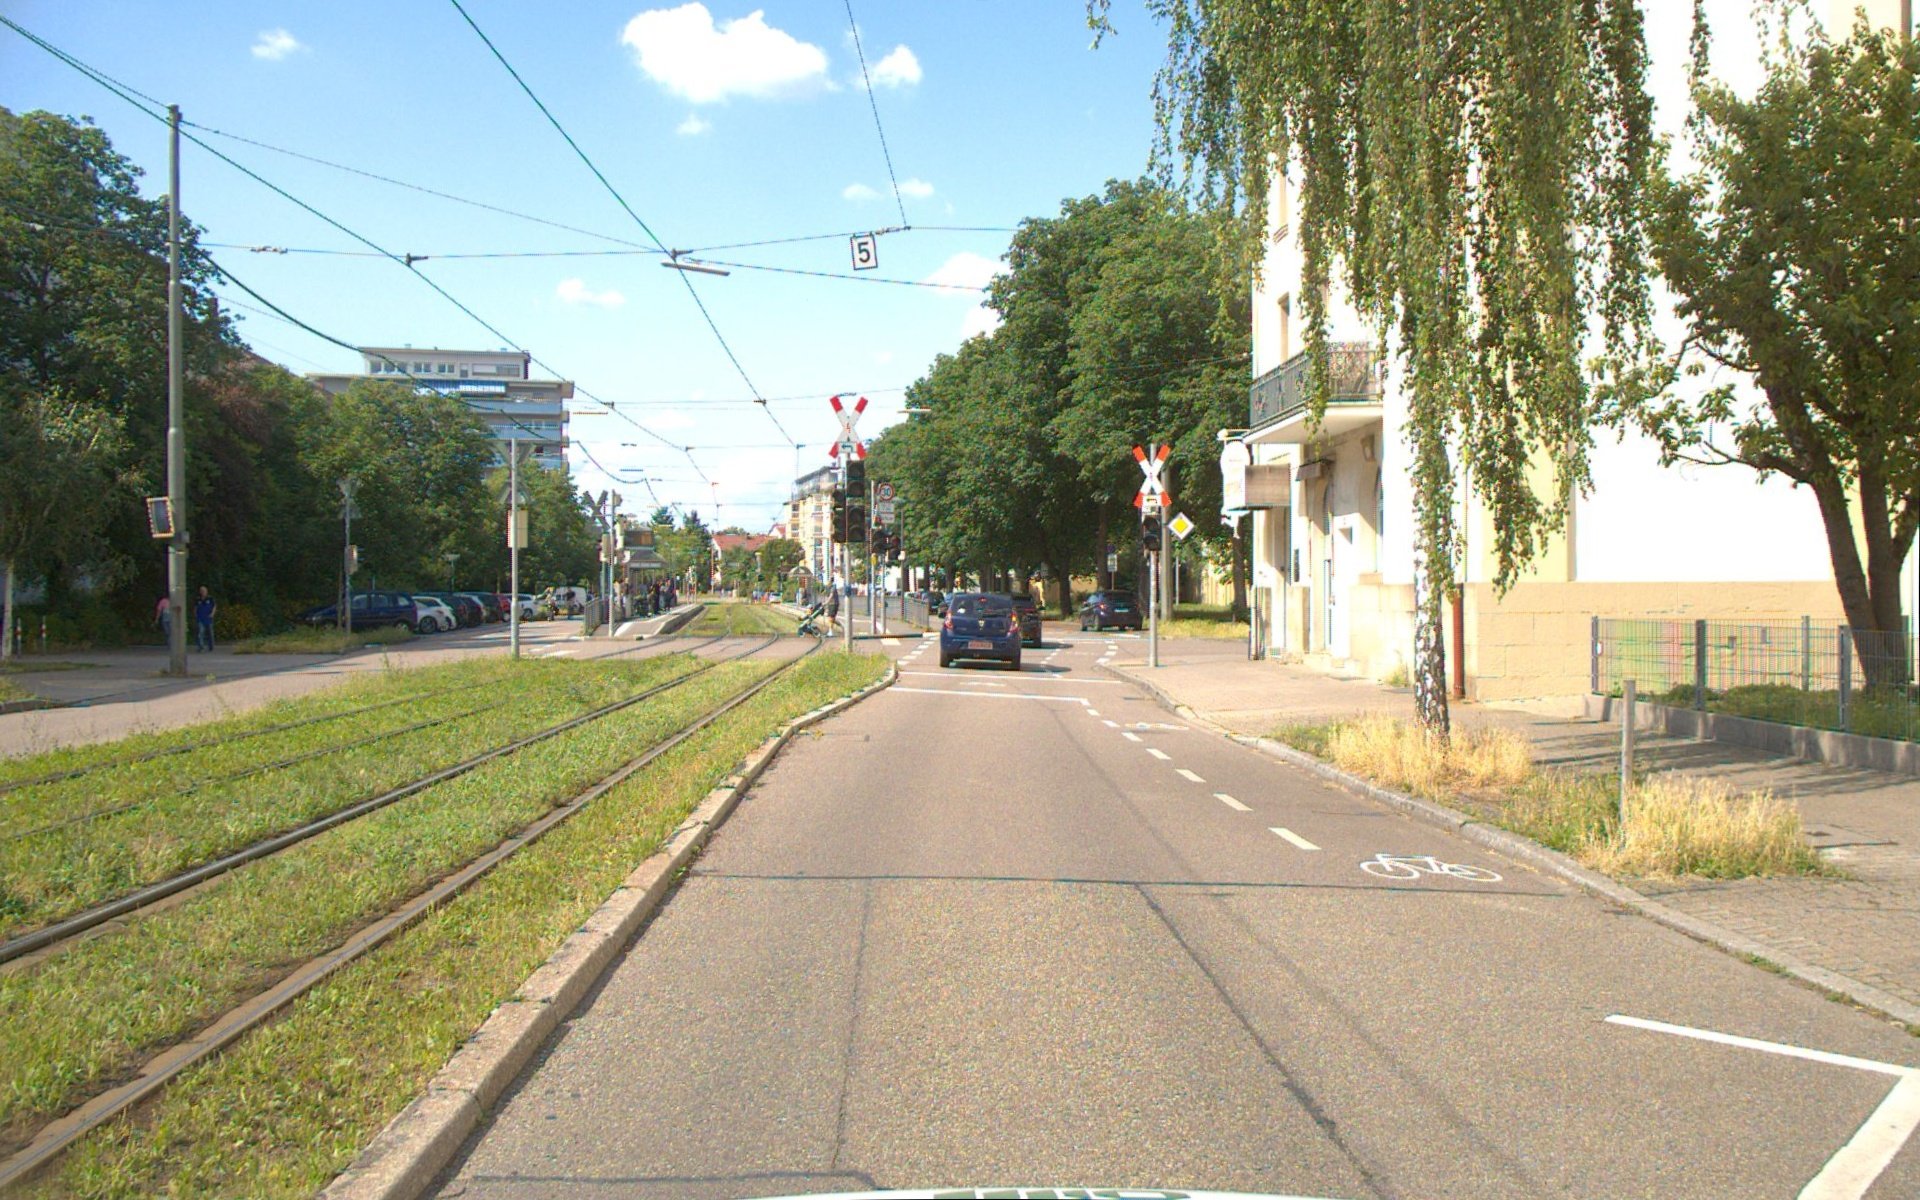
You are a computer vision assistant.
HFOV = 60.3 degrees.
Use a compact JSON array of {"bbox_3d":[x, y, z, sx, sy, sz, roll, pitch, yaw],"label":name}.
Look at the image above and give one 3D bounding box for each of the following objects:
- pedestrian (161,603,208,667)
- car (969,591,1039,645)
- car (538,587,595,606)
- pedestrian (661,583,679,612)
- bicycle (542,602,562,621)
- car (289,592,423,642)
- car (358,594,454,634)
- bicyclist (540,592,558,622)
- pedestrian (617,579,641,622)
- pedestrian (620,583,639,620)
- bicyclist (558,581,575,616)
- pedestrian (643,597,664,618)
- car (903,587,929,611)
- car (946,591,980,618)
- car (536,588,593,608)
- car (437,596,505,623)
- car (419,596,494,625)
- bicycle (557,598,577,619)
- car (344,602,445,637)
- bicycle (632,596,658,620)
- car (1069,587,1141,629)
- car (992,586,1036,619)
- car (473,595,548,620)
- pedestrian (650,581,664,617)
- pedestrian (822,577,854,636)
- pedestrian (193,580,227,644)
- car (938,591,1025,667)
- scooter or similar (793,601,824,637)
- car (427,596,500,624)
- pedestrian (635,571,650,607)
[{"bbox_3d":[-19.526,0.881,41.660,0.730,1.601,0.889,-1,-1,1],"label":"pedestrian"},{"bbox_3d":[1.191,0.472,45.687,1.666,1.392,3.513,-1,1,-3],"label":"car"},{"bbox_3d":[-30.196,-0.287,127.040,3.966,1.472,1.701,-1,0,-42],"label":"car"},{"bbox_3d":[-14.926,-0.122,85.096,0.642,1.451,0.562,-1,0,30],"label":"pedestrian"},{"bbox_3d":[-21.968,0.613,89.034,0.667,0.988,2.177,-1,0,-4],"label":"bicycle"},{"bbox_3d":[-21.005,0.569,57.644,1.696,1.669,4.106,0,0,43],"label":"car"},{"bbox_3d":[-22.271,0.552,66.571,1.518,1.531,3.365,0,0,44],"label":"car"},{"bbox_3d":[-22.049,0.368,88.784,0.769,1.609,0.863,-1,0,-4],"label":"bicyclist"},{"bbox_3d":[-13.511,0.017,67.437,0.699,1.756,0.666,0,0,34],"label":"pedestrian"},{"bbox_3d":[-14.490,0.068,72.446,0.650,1.597,0.686,-2,0,0],"label":"pedestrian"},{"bbox_3d":[-22.987,-0.077,96.571,0.932,2.049,1.570,0,0,-15],"label":"bicyclist"},{"bbox_3d":[-14.836,0.359,80.131,0.907,1.006,0.796,-2,-1,-6],"label":"pedestrian"},{"bbox_3d":[-3.327,-0.076,123.388,1.587,1.780,3.994,0,0,-7],"label":"car"},{"bbox_3d":[0.153,0.242,96.871,1.814,1.542,3.998,0,0,-2],"label":"car"},{"bbox_3d":[-29.140,-0.141,121.837,1.607,1.410,3.983,0,0,37],"label":"car"},{"bbox_3d":[-25.544,0.476,86.494,1.427,1.332,3.234,0,0,36],"label":"car"},{"bbox_3d":[-23.748,0.482,78.147,1.426,1.332,3.237,0,0,34],"label":"car"},{"bbox_3d":[-22.961,0.501,96.599,1.134,1.198,1.781,-2,0,-14],"label":"bicycle"},{"bbox_3d":[-21.615,0.723,63.295,1.517,1.258,3.367,0,0,43],"label":"car"},{"bbox_3d":[-13.758,0.350,72.242,0.672,0.991,1.772,-3,1,2],"label":"bicycle"},{"bbox_3d":[5.192,0.270,59.857,1.732,1.458,3.897,-1,0,-8],"label":"car"},{"bbox_3d":[2.592,0.096,80.289,1.824,1.470,3.998,-2,0,-2],"label":"car"},{"bbox_3d":[-26.315,0.428,96.849,1.685,1.391,3.977,-1,1,41],"label":"car"},{"bbox_3d":[-15.405,-0.061,84.049,0.591,1.797,0.639,0,0,1],"label":"pedestrian"},{"bbox_3d":[-3.848,0.212,52.074,0.855,1.806,1.001,-3,0,-9],"label":"pedestrian"},{"bbox_3d":[-19.924,0.323,43.962,0.545,1.686,0.747,-1,0,1],"label":"pedestrian"},{"bbox_3d":[0.419,0.562,34.833,1.732,1.487,3.775,1,0,0],"label":"car"},{"bbox_3d":[-4.738,0.594,51.685,0.936,1.083,0.795,-1,0,-8],"label":"scooter or similar"},{"bbox_3d":[-24.282,0.464,80.998,1.427,1.332,3.234,0,0,36],"label":"car"},{"bbox_3d":[-15.202,-0.541,79.158,0.642,1.722,0.655,-1,0,-7],"label":"pedestrian"}]
